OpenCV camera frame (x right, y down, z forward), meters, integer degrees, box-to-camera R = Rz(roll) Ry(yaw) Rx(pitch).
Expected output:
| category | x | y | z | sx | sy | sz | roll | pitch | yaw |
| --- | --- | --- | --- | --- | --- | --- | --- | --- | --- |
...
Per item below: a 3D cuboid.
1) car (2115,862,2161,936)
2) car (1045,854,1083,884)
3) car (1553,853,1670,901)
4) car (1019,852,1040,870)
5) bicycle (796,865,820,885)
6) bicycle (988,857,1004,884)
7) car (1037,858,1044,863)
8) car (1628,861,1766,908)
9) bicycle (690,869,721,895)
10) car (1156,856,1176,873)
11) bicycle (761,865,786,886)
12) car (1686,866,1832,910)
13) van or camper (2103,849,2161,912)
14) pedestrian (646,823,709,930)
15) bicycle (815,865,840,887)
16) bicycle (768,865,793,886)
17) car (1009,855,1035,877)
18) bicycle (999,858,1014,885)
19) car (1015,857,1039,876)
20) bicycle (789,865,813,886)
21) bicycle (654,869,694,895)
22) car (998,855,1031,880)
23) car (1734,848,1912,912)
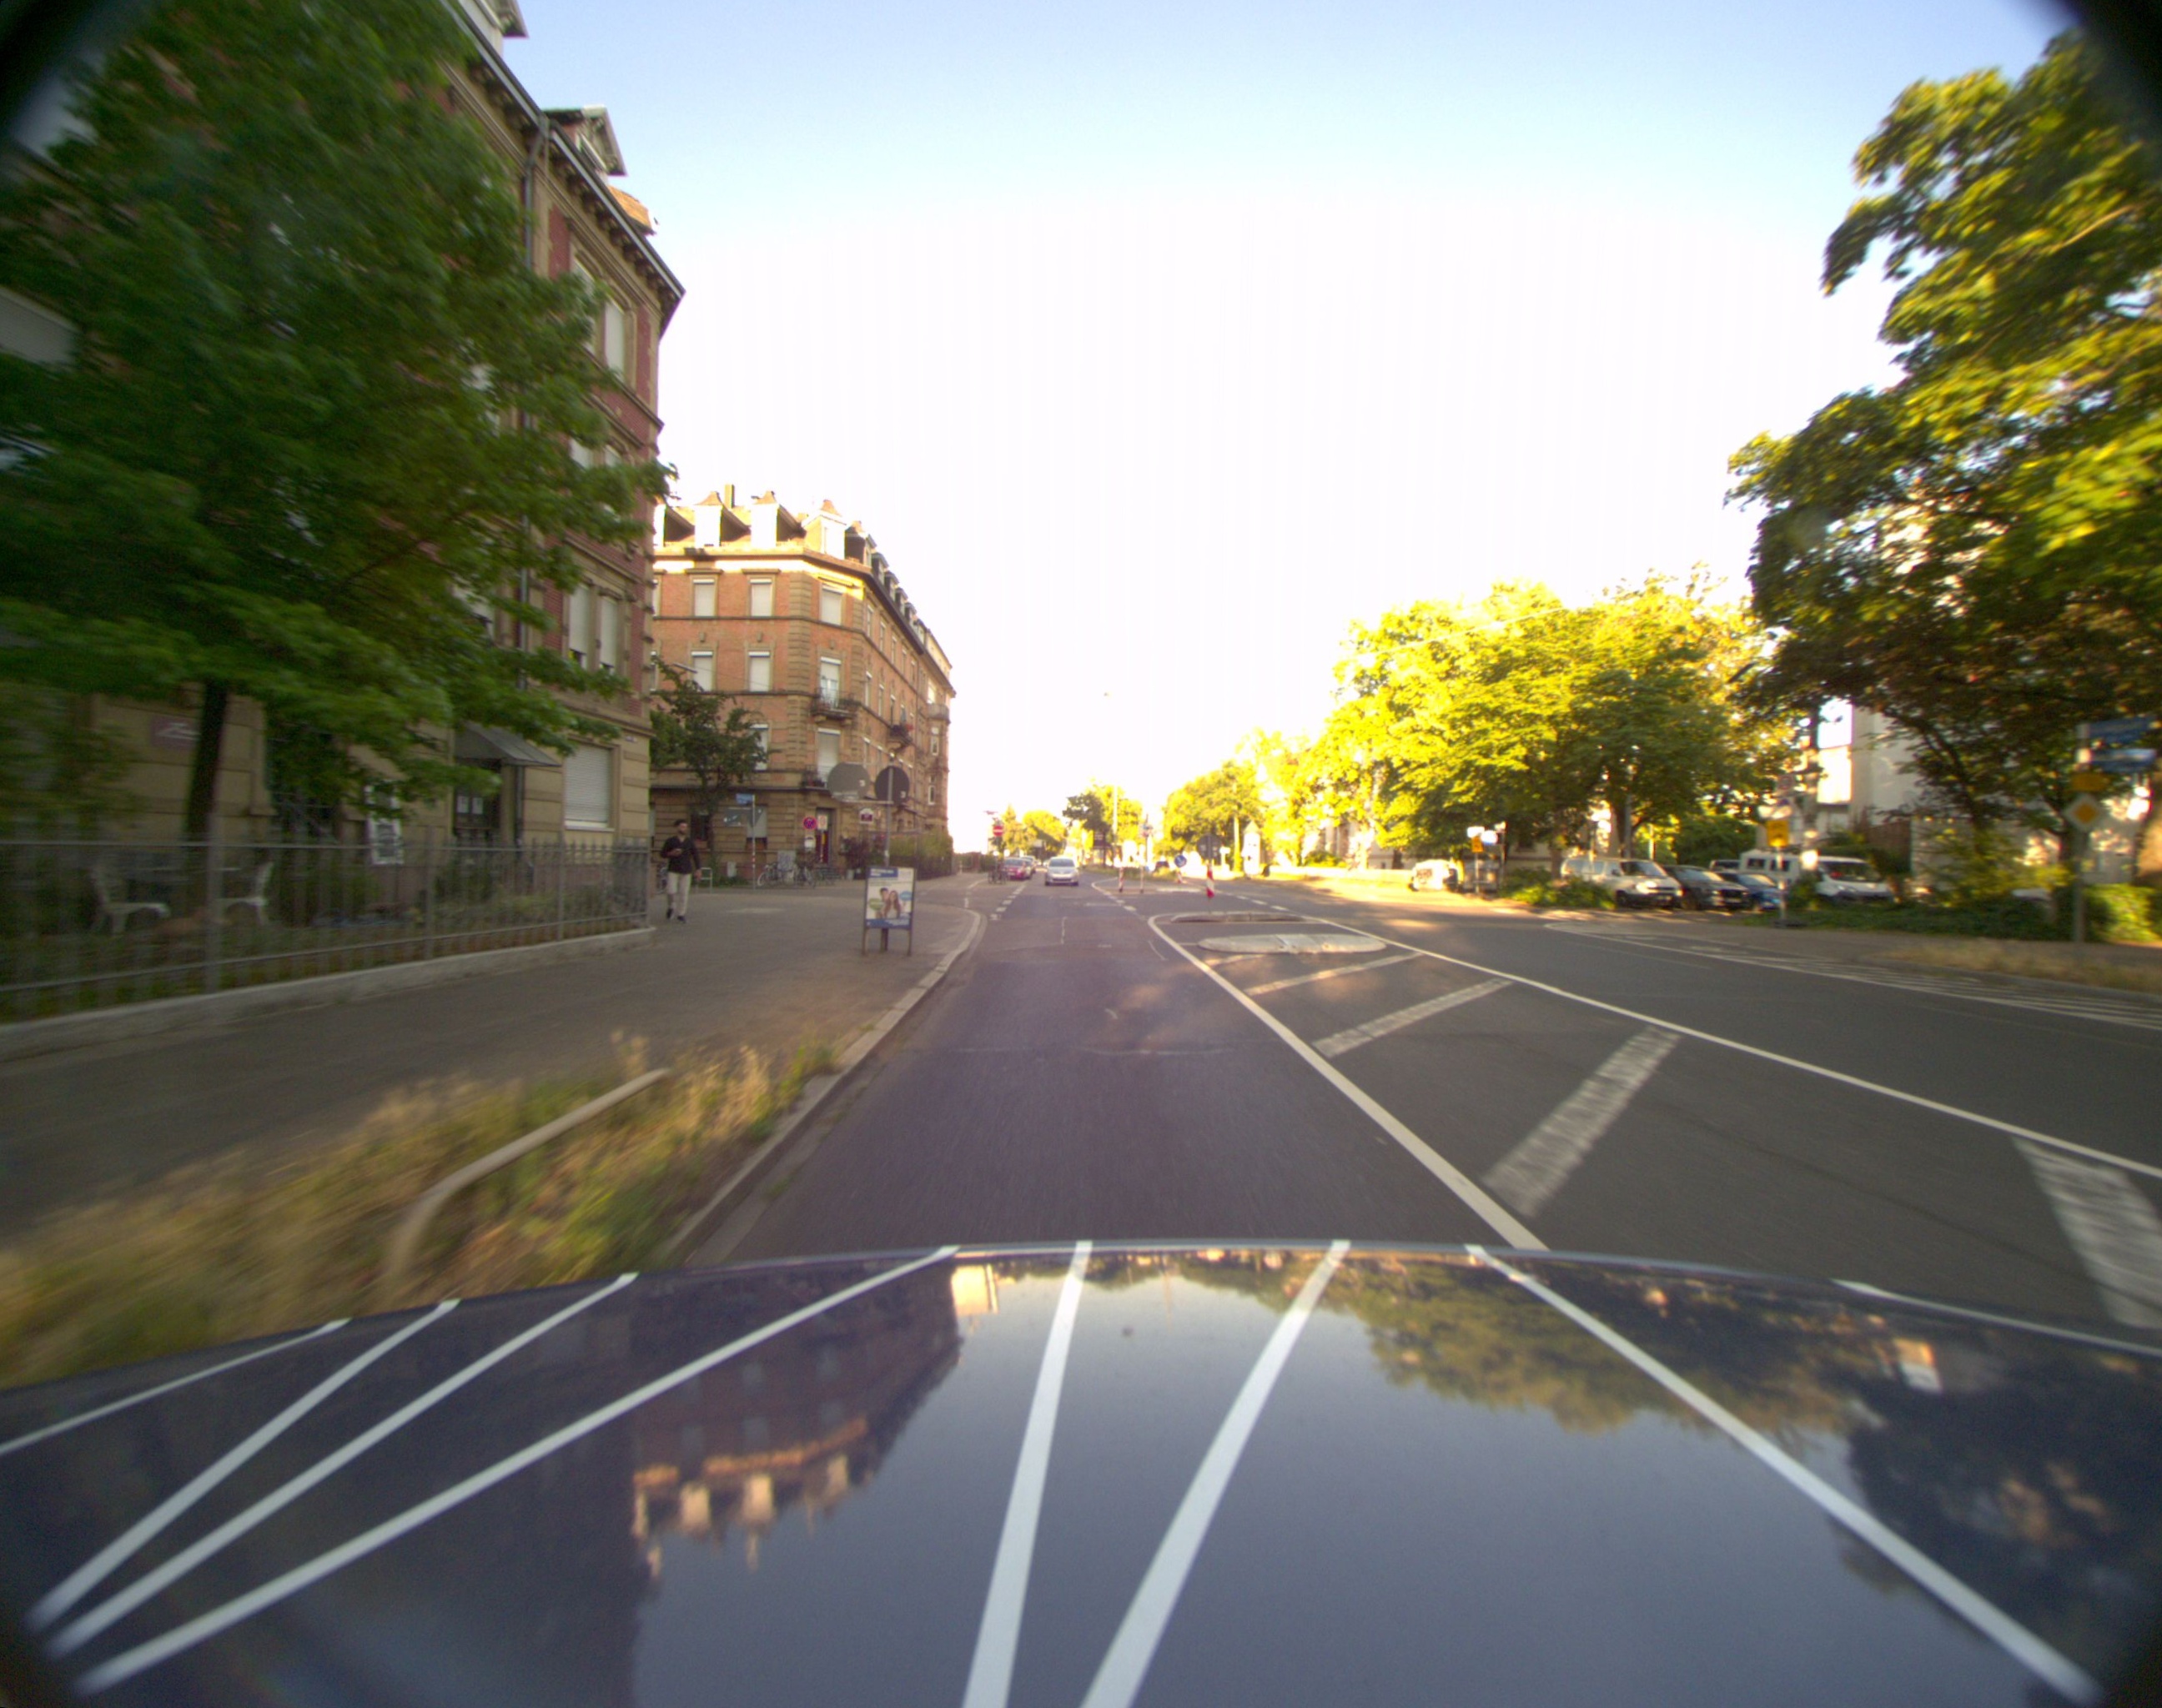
| category | x | y | z | sx | sy | sz | roll | pitch | yaw |
| --- | --- | --- | --- | --- | --- | --- | --- | --- | --- |
| car | 29.003 | 1.164 | 18.573 | 1.999 | 1.871 | 3.999 | -1 | 0 | -2 |
| car | -0.948 | 0.786 | 40.939 | 1.896 | 1.454 | 3.965 | 1 | 0 | -3 |
| car | 21.179 | 0.873 | 30.553 | 1.823 | 1.784 | 3.999 | 0 | 0 | -2 |
| car | -5.767 | 0.796 | 85.950 | 1.892 | 1.907 | 5.179 | 4 | 0 | -1 |
| bicycle | -11.951 | 0.909 | 33.281 | 0.295 | 0.812 | 1.498 | -1 | 2 | 7 |
| bicycle | -4.461 | 0.825 | 39.793 | 0.567 | 1.268 | 2.264 | 5 | 1 | -2 |
| car | -11.553 | 1.861 | 214.769 | 1.948 | 1.514 | 4.162 | 1 | 0 | -4 |
| car | 23.643 | 1.109 | 29.368 | 1.999 | 1.652 | 3.999 | 0 | 0 | -2 |
| bicycle | -12.403 | 0.936 | 25.126 | 0.292 | 0.812 | 1.498 | -1 | -3 | -1 |
| car | 9.466 | 1.141 | 84.930 | 1.880 | 1.696 | 4.569 | 3 | 0 | 4 |
| bicycle | -13.435 | 0.924 | 33.210 | 0.295 | 0.812 | 1.498 | -1 | 2 | 7 |
| car | 26.111 | 1.261 | 29.478 | 1.999 | 1.531 | 3.999 | 0 | 0 | -2 |
| van or camper | 43.575 | 1.041 | 28.915 | 2.071 | 2.457 | 5.428 | 0 | 0 | 1 |
| pedestrian | -6.996 | 0.383 | 13.208 | 0.748 | 1.768 | 0.830 | 4 | 0 | -19 |
| bicycle | -10.986 | 0.947 | 32.955 | 0.295 | 0.812 | 1.735 | -1 | 2 | 7 |
| bicycle | -13.111 | 0.925 | 33.192 | 0.295 | 0.812 | 1.498 | -1 | 2 | 7 |
| car | -4.205 | 0.824 | 54.430 | 1.682 | 1.418 | 3.675 | 4 | 0 | -4 |
| bicycle | -3.886 | 0.908 | 39.824 | 0.567 | 1.292 | 2.264 | 5 | 1 | -2 |
| car | -4.577 | 1.031 | 64.583 | 1.893 | 1.439 | 4.462 | 4 | 0 | -3 |
| bicycle | -12.266 | 0.921 | 33.313 | 0.295 | 0.812 | 1.498 | -1 | 2 | 7 |
| bicycle | -13.308 | 0.919 | 24.883 | 0.295 | 0.812 | 1.499 | -2 | -3 | 10 |
| car | -4.317 | 0.847 | 49.756 | 1.730 | 1.456 | 3.546 | 4 | 0 | -1 |
| car | 28.657 | 0.923 | 29.672 | 2.220 | 2.275 | 5.100 | 0 | 0 | 5 |
